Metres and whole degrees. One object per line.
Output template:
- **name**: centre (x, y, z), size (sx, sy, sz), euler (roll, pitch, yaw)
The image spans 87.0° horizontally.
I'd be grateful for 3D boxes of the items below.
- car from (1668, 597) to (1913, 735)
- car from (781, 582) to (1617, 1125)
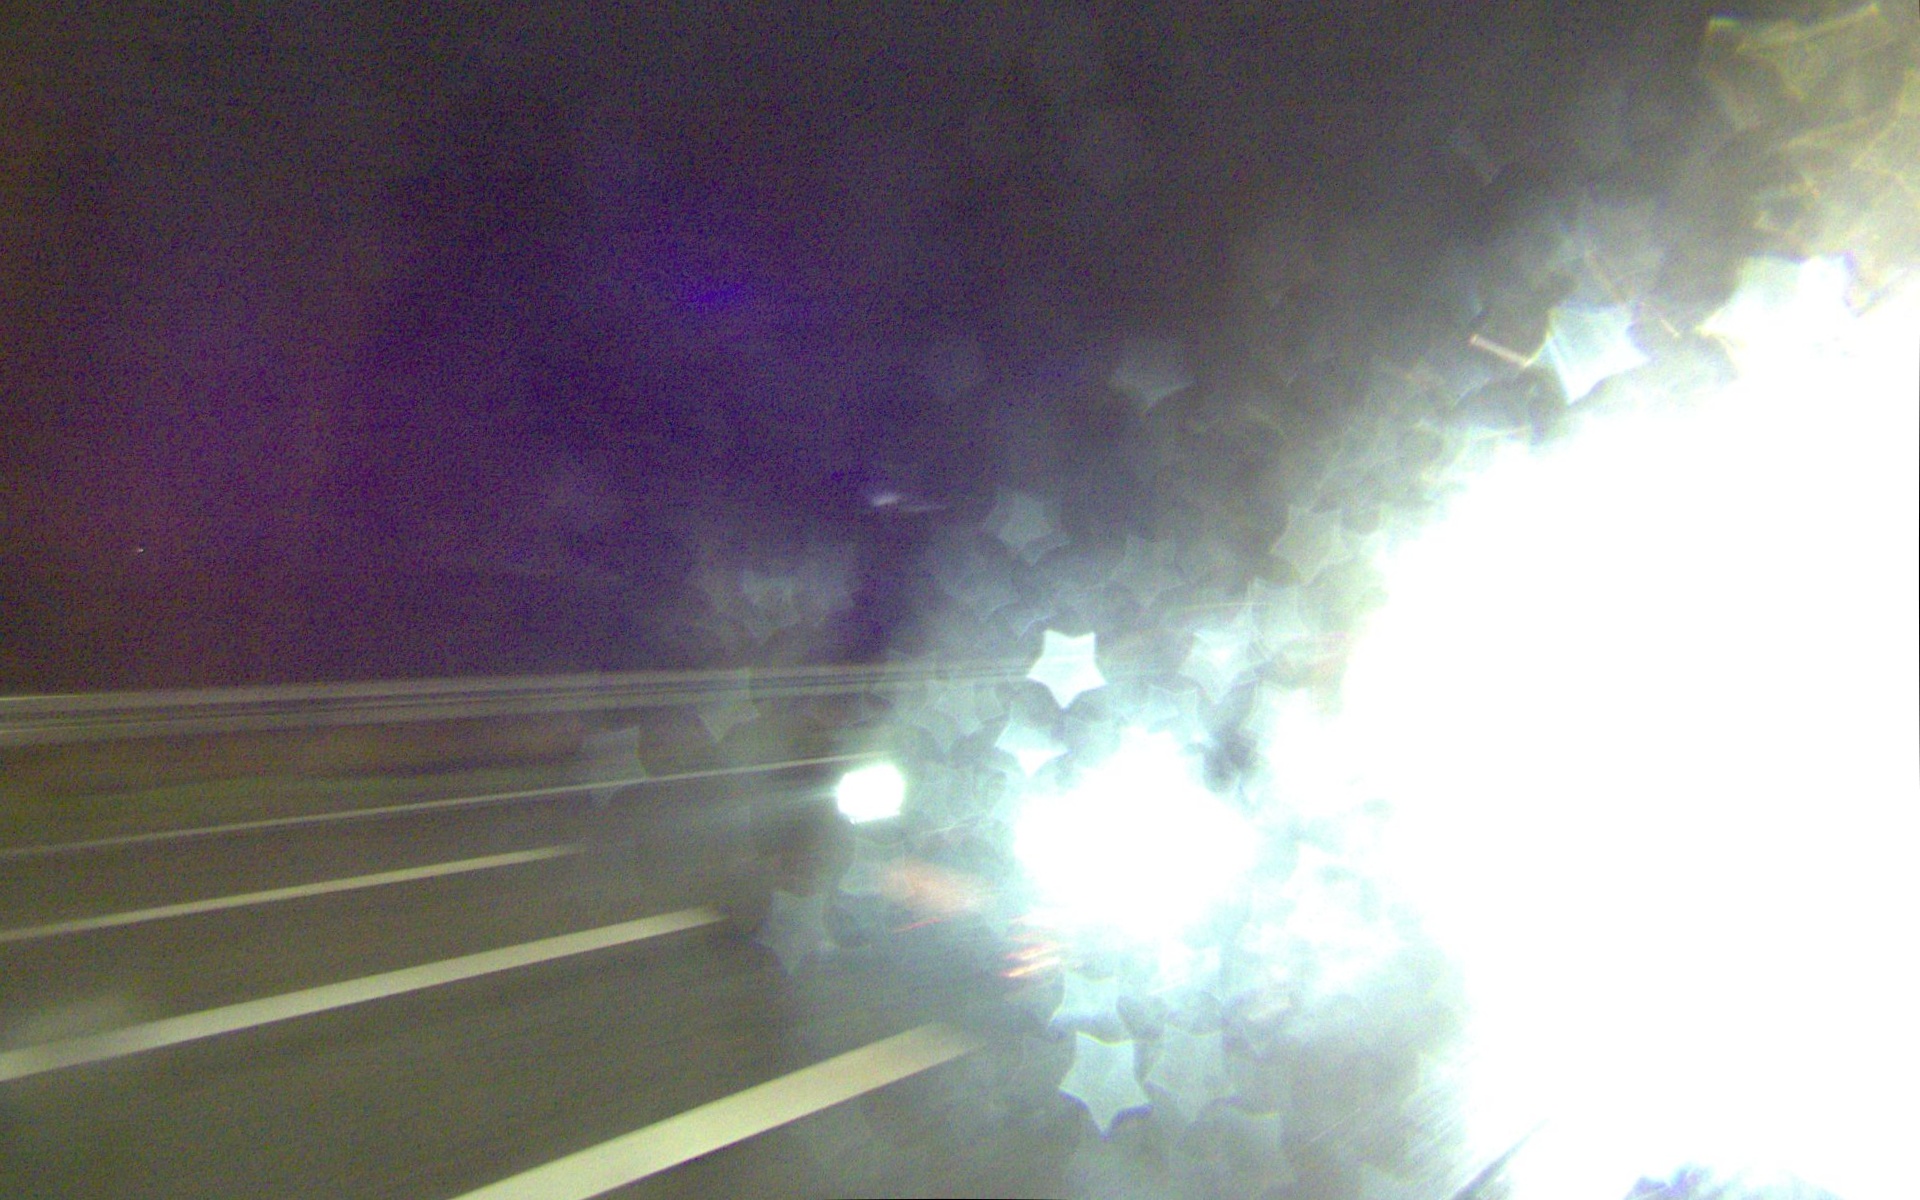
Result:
- **car**: centre (11.185, 0.746, 13.507), size (4.488, 1.503, 1.825), euler (0, 1, -41)
- **car**: centre (1.571, 0.686, 4.971), size (4.645, 1.467, 1.733), euler (0, 0, -43)
